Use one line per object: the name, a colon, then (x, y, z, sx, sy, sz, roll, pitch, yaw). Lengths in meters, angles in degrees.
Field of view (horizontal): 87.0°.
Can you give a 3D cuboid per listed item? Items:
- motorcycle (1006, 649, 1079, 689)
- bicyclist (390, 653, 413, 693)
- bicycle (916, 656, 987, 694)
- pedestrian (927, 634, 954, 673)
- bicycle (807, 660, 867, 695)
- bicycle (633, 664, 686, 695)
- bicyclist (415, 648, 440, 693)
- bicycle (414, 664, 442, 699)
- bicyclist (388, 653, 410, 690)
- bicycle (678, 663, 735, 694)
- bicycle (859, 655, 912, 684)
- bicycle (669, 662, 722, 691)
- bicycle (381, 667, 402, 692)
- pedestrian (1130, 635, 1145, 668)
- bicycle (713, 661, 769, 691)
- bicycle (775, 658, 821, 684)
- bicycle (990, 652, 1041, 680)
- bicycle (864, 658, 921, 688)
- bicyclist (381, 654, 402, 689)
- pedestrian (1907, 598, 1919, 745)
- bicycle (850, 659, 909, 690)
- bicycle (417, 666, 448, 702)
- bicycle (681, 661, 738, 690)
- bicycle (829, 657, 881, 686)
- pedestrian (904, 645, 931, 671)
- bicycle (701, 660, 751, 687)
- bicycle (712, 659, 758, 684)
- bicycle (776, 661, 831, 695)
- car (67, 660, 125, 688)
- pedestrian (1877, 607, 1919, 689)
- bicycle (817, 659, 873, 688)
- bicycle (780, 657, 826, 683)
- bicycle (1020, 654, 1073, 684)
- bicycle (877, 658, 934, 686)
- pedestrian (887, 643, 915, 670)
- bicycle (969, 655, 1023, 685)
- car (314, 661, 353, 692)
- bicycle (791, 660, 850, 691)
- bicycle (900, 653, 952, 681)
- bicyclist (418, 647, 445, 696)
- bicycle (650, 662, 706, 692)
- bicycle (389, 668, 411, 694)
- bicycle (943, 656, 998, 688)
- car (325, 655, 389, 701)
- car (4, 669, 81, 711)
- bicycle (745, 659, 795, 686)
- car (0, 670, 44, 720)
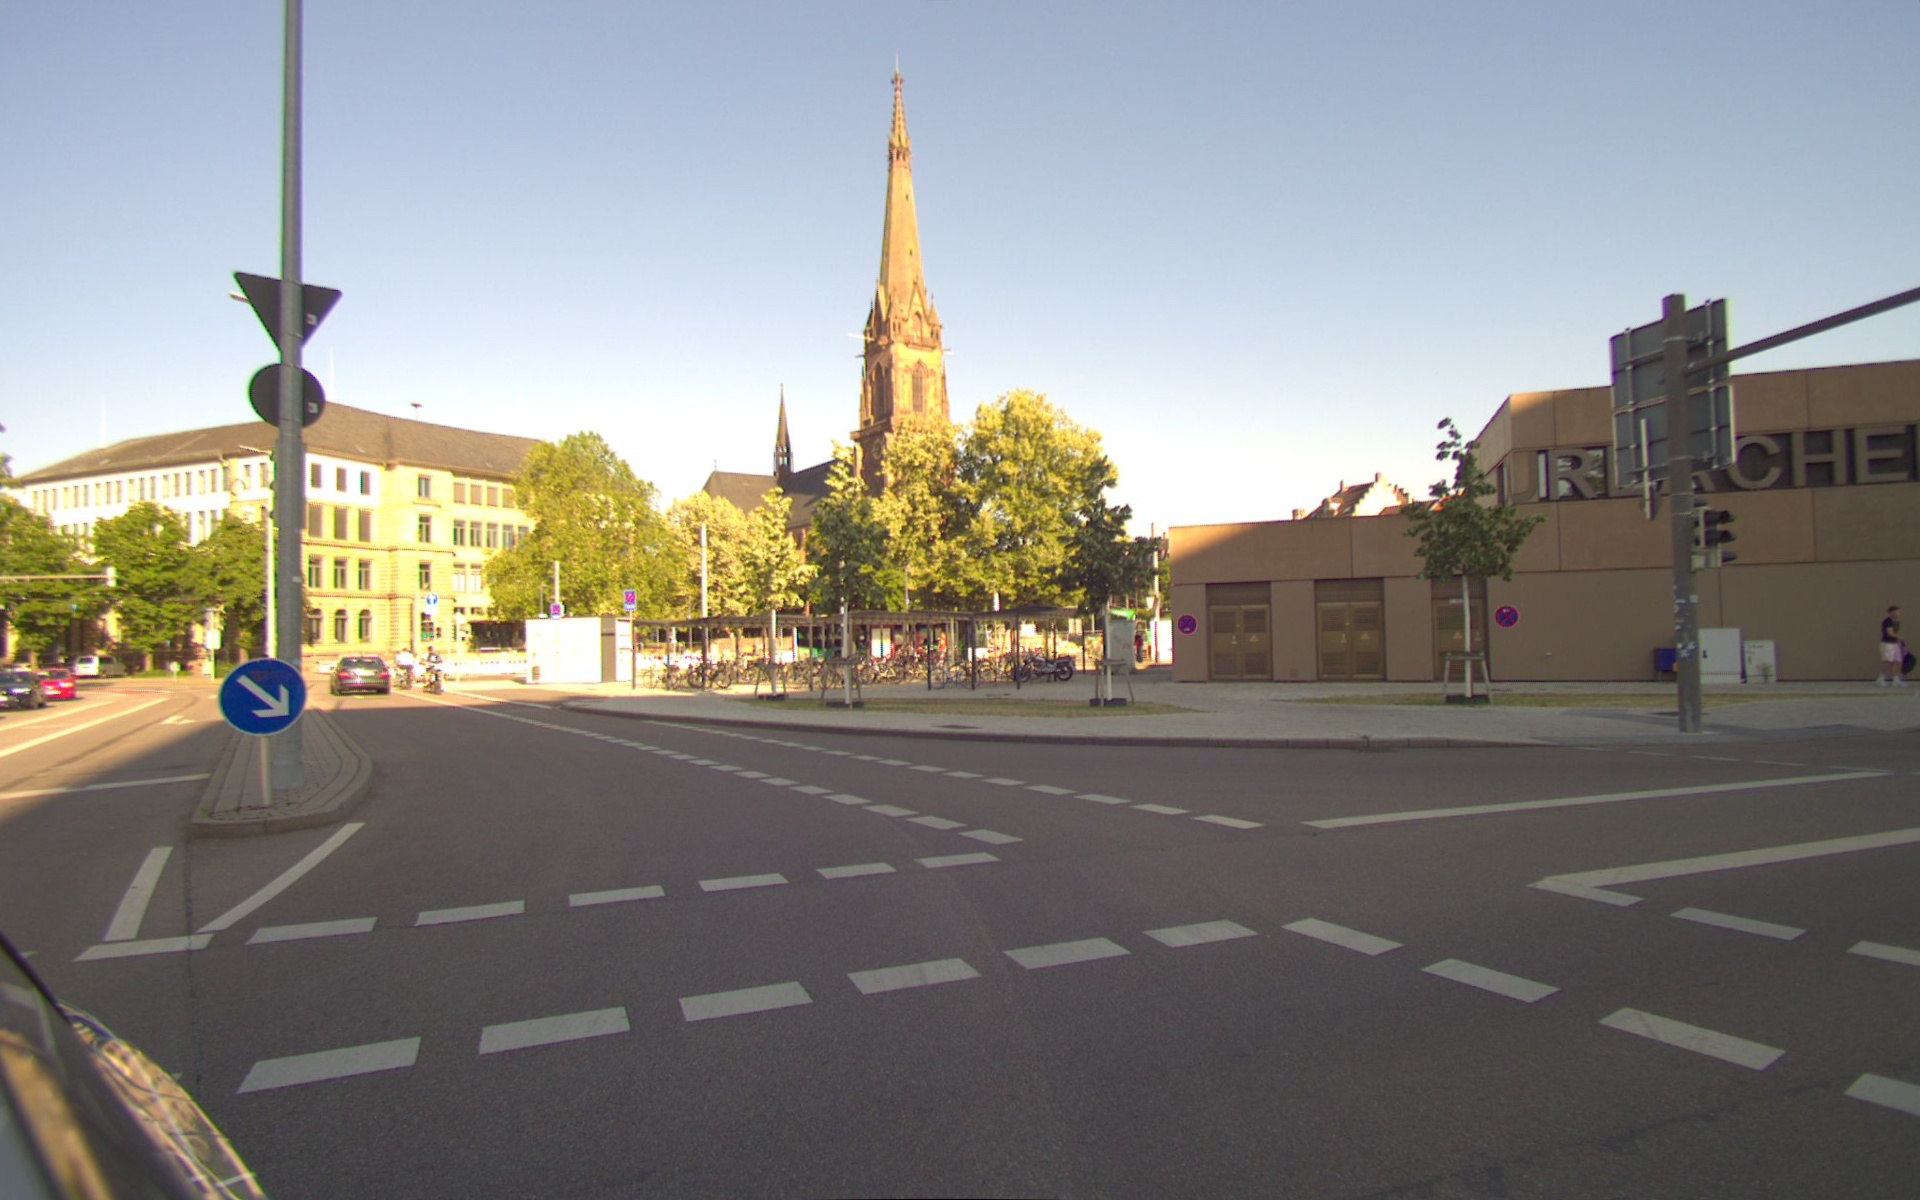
motorcycle: (2.811, 2.352, 34.605, 2.341, 1.257, 0.714, -3, -1, 22)
bicyclist: (-23.780, 3.084, 43.081, 0.851, 1.666, 0.947, 0, -3, -28)
bicycle: (-0.270, 2.410, 32.403, 2.106, 1.114, 0.741, -3, -1, 17)
pedestrian: (-1.044, 2.851, 54.372, 1.023, 2.029, 1.126, -3, -1, 23)
bicycle: (-4.109, 2.588, 33.826, 1.959, 1.114, 0.563, -2, -1, 21)
bicycle: (-10.778, 2.834, 36.294, 1.963, 1.062, 0.562, -2, -1, 26)
bicyclist: (-20.532, 2.698, 39.008, 0.752, 1.681, 1.065, -2, -2, -32)
bicycle: (-20.520, 3.121, 39.005, 0.752, 1.196, 2.613, -2, -2, -32)
bicyclist: (-25.830, 3.269, 46.591, 0.851, 1.666, 0.947, 0, -3, -27)
bicycle: (-9.048, 2.795, 36.111, 1.957, 1.062, 0.564, -2, -1, 18)
bicycle: (-2.966, 2.770, 40.161, 2.056, 1.097, 0.563, -2, -1, 20)
bicycle: (-10.120, 2.919, 38.722, 1.923, 1.062, 0.678, -2, -1, 21)
bicycle: (-27.678, 3.861, 49.269, 0.867, 1.106, 2.195, 0, -3, -28)
pedestrian: (9.175, 2.674, 52.342, 0.537, 1.700, 0.485, 1, -3, -33)
bicycle: (-8.243, 2.845, 38.074, 1.959, 1.062, 0.753, -2, -1, 21)
bicycle: (-6.844, 2.992, 42.752, 1.960, 1.062, 0.415, -2, -1, 22)
bicycle: (2.158, 2.584, 39.387, 1.917, 1.051, 0.519, -2, -1, 20)
bicycle: (-2.469, 2.679, 37.095, 2.021, 1.051, 0.599, -2, -1, 24)
bicyclist: (-27.684, 3.482, 49.279, 0.851, 1.666, 0.947, 0, -3, -28)
pedestrian: (11.888, 0.830, 11.767, 0.774, 1.754, 0.930, 0, -3, -16)
bicycle: (-2.858, 2.644, 36.056, 2.019, 1.051, 0.600, -2, -1, 21)
bicycle: (-18.912, 2.985, 36.255, 0.752, 1.196, 2.613, -2, -2, -32)
bicycle: (-9.992, 3.002, 40.351, 2.102, 1.062, 0.833, -2, -1, 19)
bicycle: (-4.081, 2.772, 39.305, 1.917, 1.097, 0.533, -2, -1, 20)
pedestrian: (-2.335, 3.178, 55.859, 1.072, 1.359, 1.045, -3, -1, 23)
bicycle: (-9.613, 3.032, 41.595, 1.954, 1.062, 0.509, -2, -1, 13)
bicycle: (-9.663, 3.073, 43.419, 1.956, 1.062, 0.495, -2, -1, 17)
bicycle: (-5.361, 2.670, 34.699, 1.784, 1.114, 0.483, -2, -1, 15)
car: (-75.116, 6.385, 88.103, 1.968, 2.029, 4.161, -1, 1, -10)
pedestrian: (20.843, 1.043, 22.269, 0.659, 1.744, 0.732, -3, -1, 19)
bicycle: (-4.315, 2.759, 37.976, 1.916, 1.051, 0.763, -2, -1, 18)
bicycle: (-6.701, 2.994, 43.151, 1.960, 1.062, 0.415, -2, -1, 22)
bicycle: (3.133, 2.498, 36.544, 1.832, 1.051, 0.520, -2, -1, 17)
bicycle: (-2.089, 2.741, 38.552, 2.091, 1.051, 0.600, -2, -1, 19)
pedestrian: (-3.206, 3.084, 55.038, 1.072, 1.359, 1.045, -3, -1, 23)
bicycle: (1.331, 2.580, 37.259, 1.917, 1.051, 0.519, -2, -1, 20)
car: (-29.790, 3.618, 48.099, 1.361, 1.348, 3.512, 1, -3, -36)
bicycle: (-5.067, 2.721, 36.722, 1.916, 1.051, 0.861, -2, -1, 18)
bicycle: (-1.372, 2.707, 40.846, 2.056, 1.097, 0.563, -2, -1, 20)
bicyclist: (-18.940, 2.563, 36.271, 0.752, 1.681, 1.065, -2, -2, -32)
bicycle: (-10.530, 2.878, 37.844, 2.008, 1.062, 0.678, -2, -1, 22)
bicycle: (-25.772, 3.724, 46.582, 0.867, 1.106, 2.195, 0, -3, -28)
bicycle: (0.357, 2.491, 35.059, 1.831, 1.051, 0.520, -2, -1, 16)
car: (-22.260, 2.820, 37.292, 1.776, 1.455, 3.988, 0, -1, -34)
car: (-41.133, 3.999, 45.473, 2.160, 1.598, 4.616, -2, -2, -38)
bicycle: (-7.668, 2.914, 40.788, 1.957, 1.062, 0.564, -2, -1, 18)
car: (-33.933, 3.359, 35.582, 2.160, 1.598, 4.616, -2, -2, -38)
